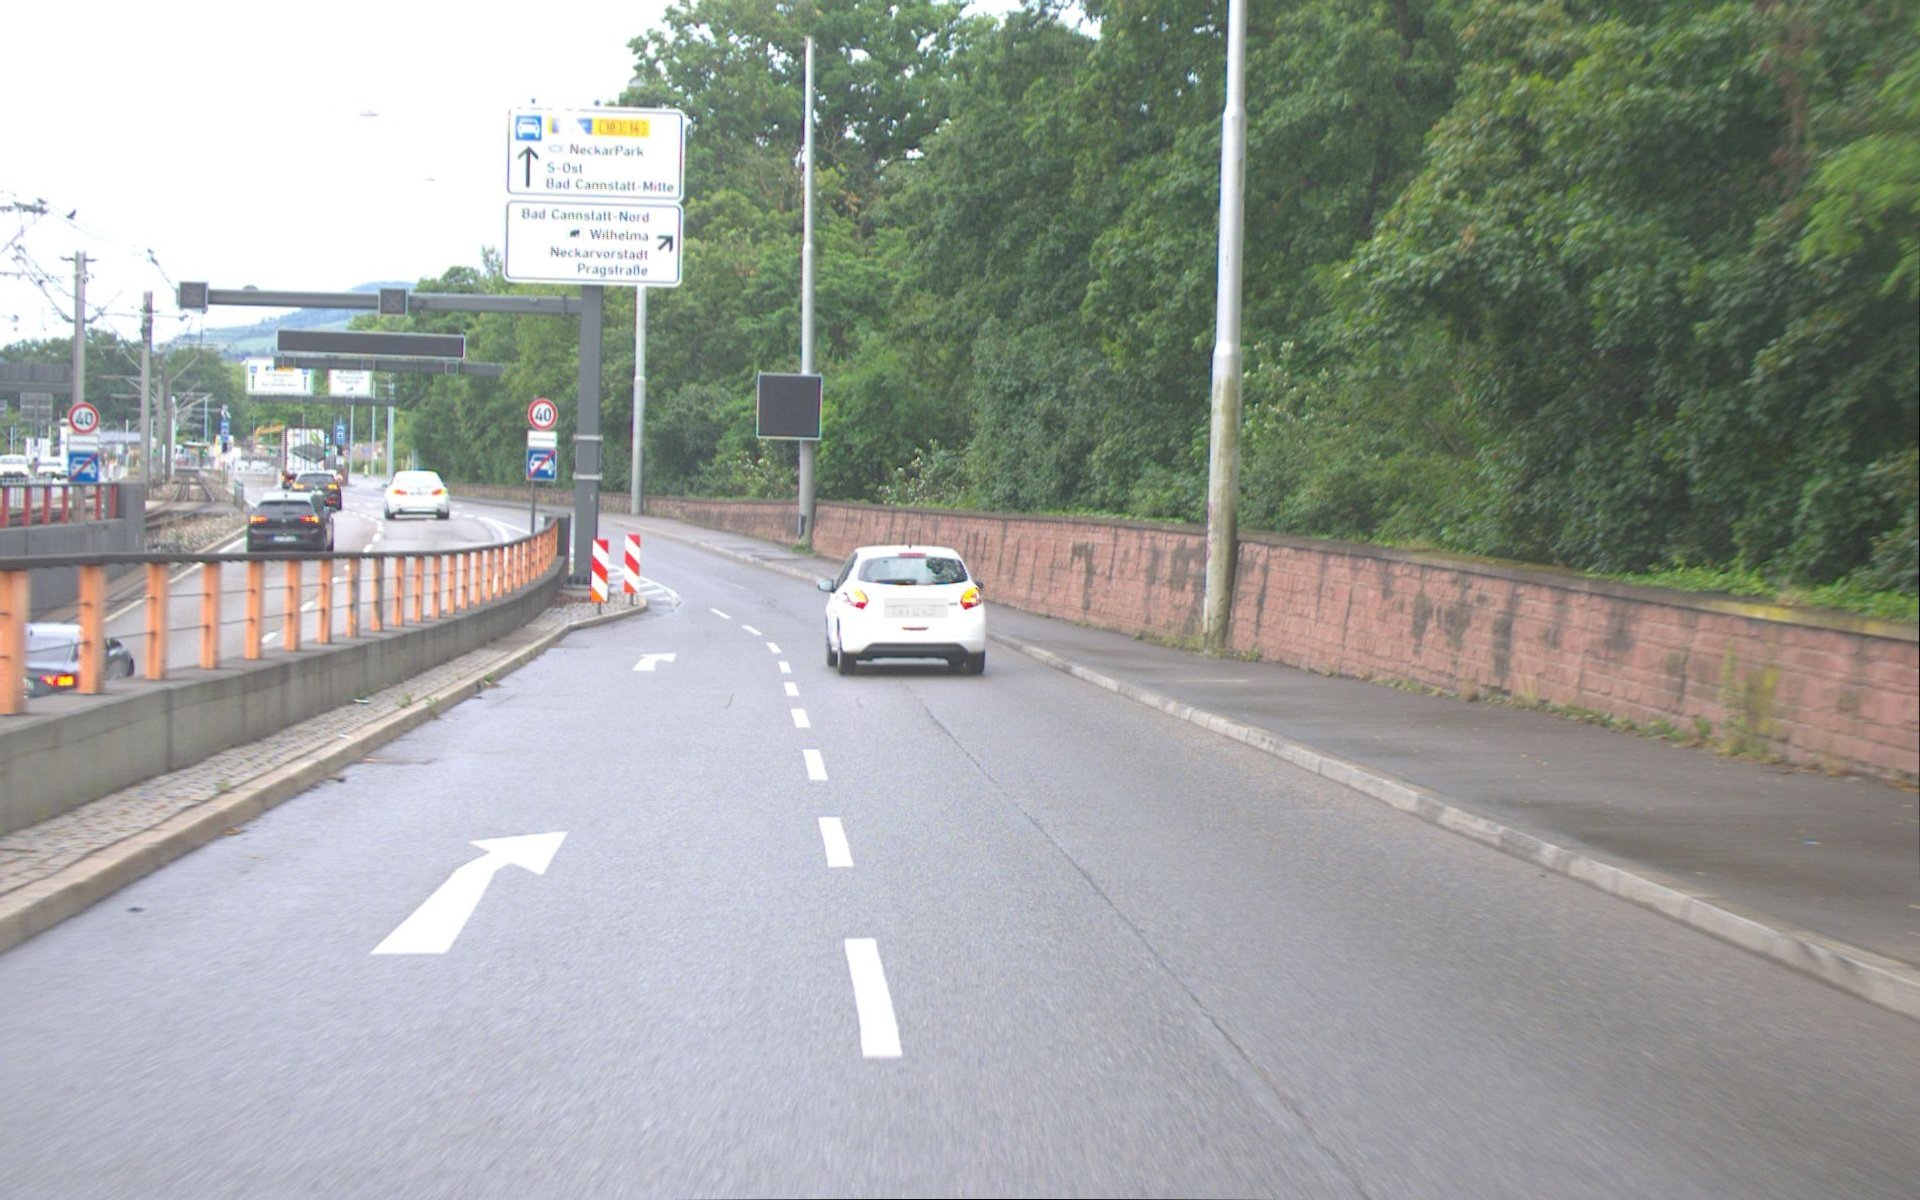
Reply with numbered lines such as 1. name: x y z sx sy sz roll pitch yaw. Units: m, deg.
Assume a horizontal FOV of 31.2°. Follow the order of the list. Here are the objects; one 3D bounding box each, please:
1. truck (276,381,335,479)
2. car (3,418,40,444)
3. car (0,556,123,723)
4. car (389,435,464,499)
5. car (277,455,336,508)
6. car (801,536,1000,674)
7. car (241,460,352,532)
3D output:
1. truck: -42.393 -10.927 222.651 3.464 5.383 12.054 2 -1 -11
2. car: -59.053 -10.653 216.389 1.825 1.579 3.833 1 3 -9
3. car: -12.582 0.504 47.011 1.721 1.884 3.537 1 5 -6
4. car: -16.308 -4.035 105.022 2.081 1.866 4.097 0 1 -11
5. car: -23.805 -4.283 125.162 1.993 1.866 4.001 0 1 -12
6. car: -0.752 0.100 40.421 1.955 1.483 4.000 2 -1 -6
7. car: -15.038 -2.350 78.124 1.993 1.570 4.001 0 1 -4
